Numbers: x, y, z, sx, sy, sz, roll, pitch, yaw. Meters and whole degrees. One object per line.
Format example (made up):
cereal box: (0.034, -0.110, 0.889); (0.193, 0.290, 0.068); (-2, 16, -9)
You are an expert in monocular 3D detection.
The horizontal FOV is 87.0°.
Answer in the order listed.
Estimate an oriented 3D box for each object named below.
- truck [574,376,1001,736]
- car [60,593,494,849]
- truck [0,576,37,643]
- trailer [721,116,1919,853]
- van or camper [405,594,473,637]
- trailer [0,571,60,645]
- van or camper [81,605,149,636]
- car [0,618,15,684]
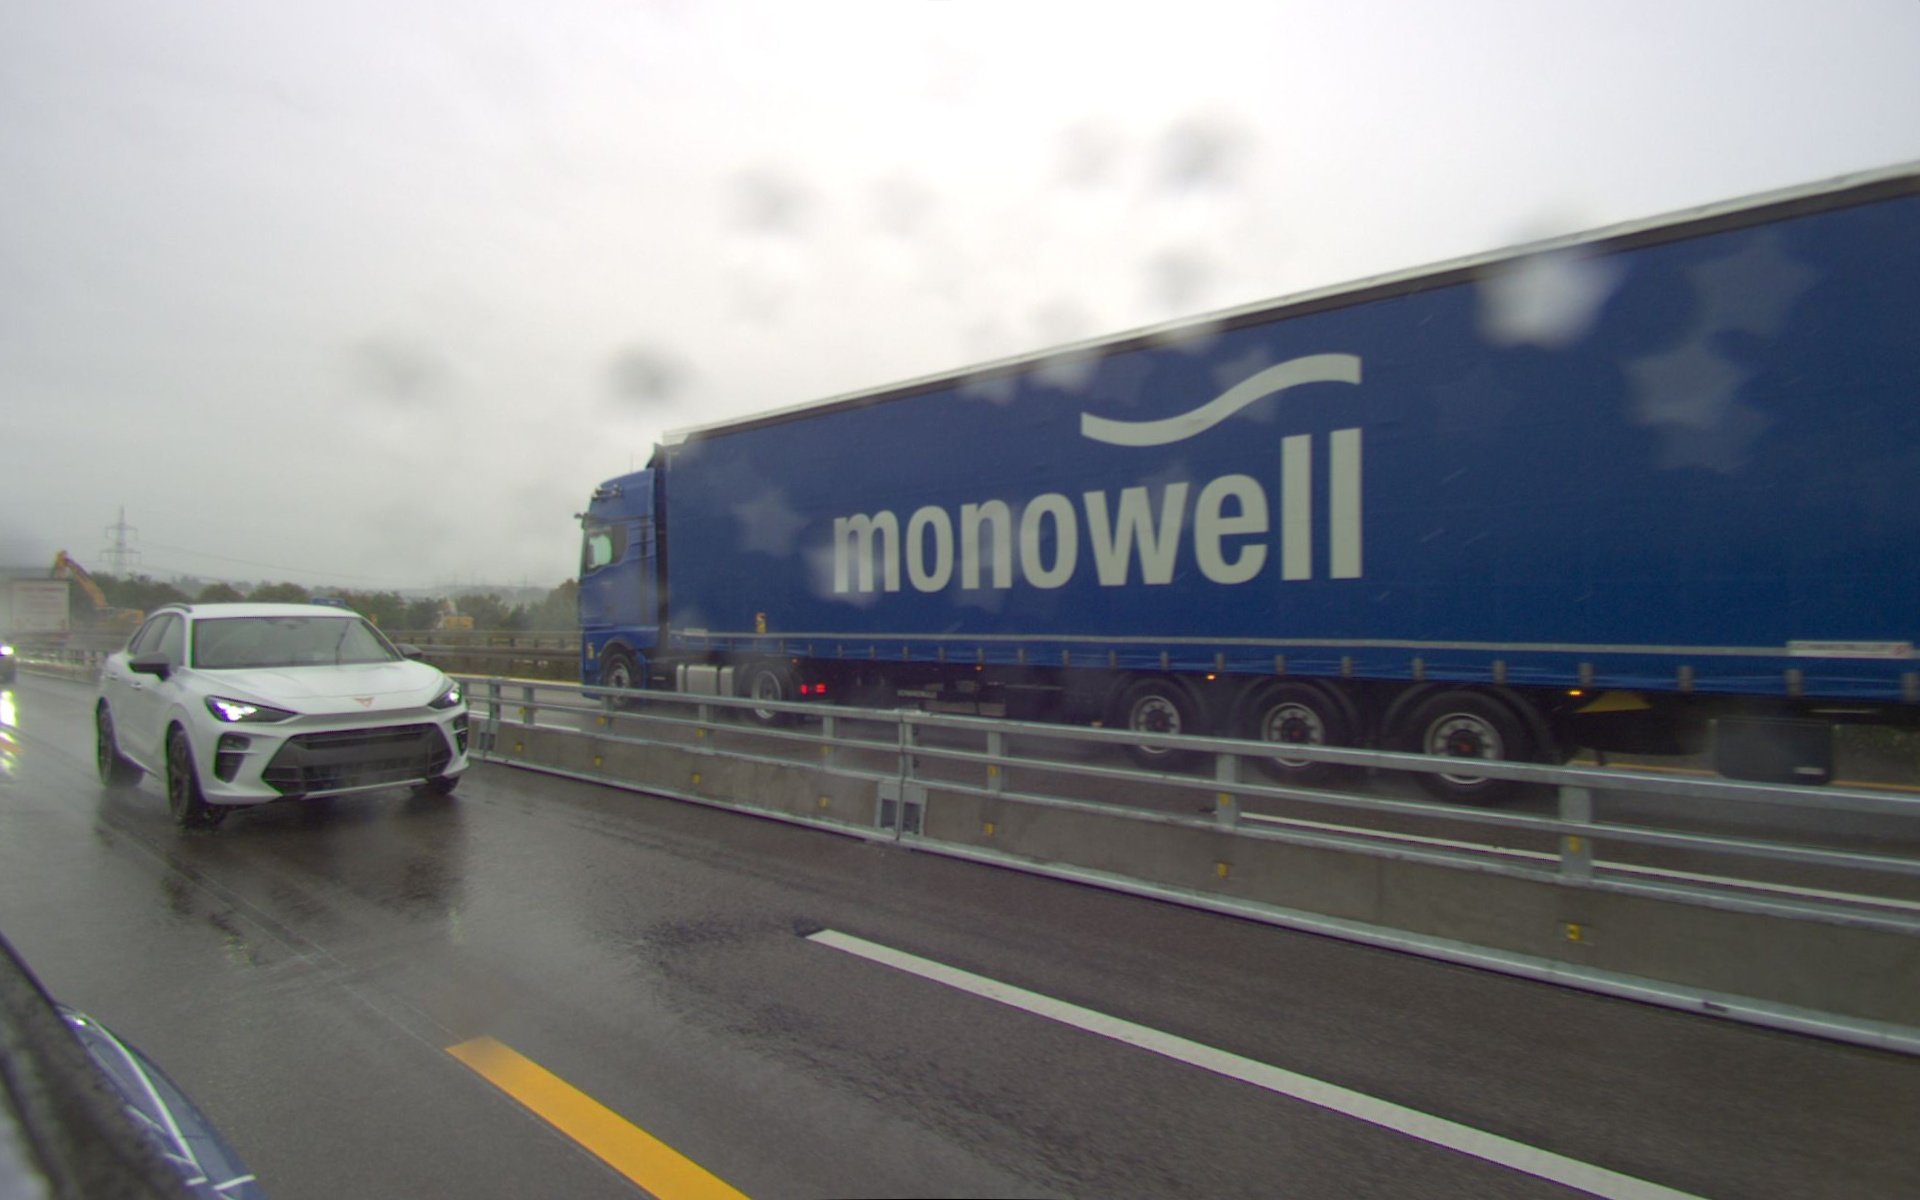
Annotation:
truck: (-2.803, -0.431, 14.791); (6.668, 4.113, 2.595); (-2, -1, 43)
car: (-5.988, 0.789, 8.572); (5.005, 1.562, 1.907); (-1, -2, 42)
truck: (-61.119, 0.625, 64.413); (7.281, 4.078, 2.615); (-1, 0, 41)
trailer: (2.307, -0.569, 10.142); (12.429, 4.108, 2.572); (-1, -1, 42)
van or camper: (-55.268, 1.664, 107.291); (8.499, 4.356, 3.333); (-1, 0, 40)
trailer: (-55.902, 0.523, 59.825); (11.922, 4.037, 2.585); (-1, 0, 41)
van or camper: (-96.117, 2.306, 115.150); (3.373, 3.370, 5.356); (-1, 0, 37)
car: (-26.338, 1.308, 26.432); (5.195, 1.640, 2.042); (-1, -1, 43)
